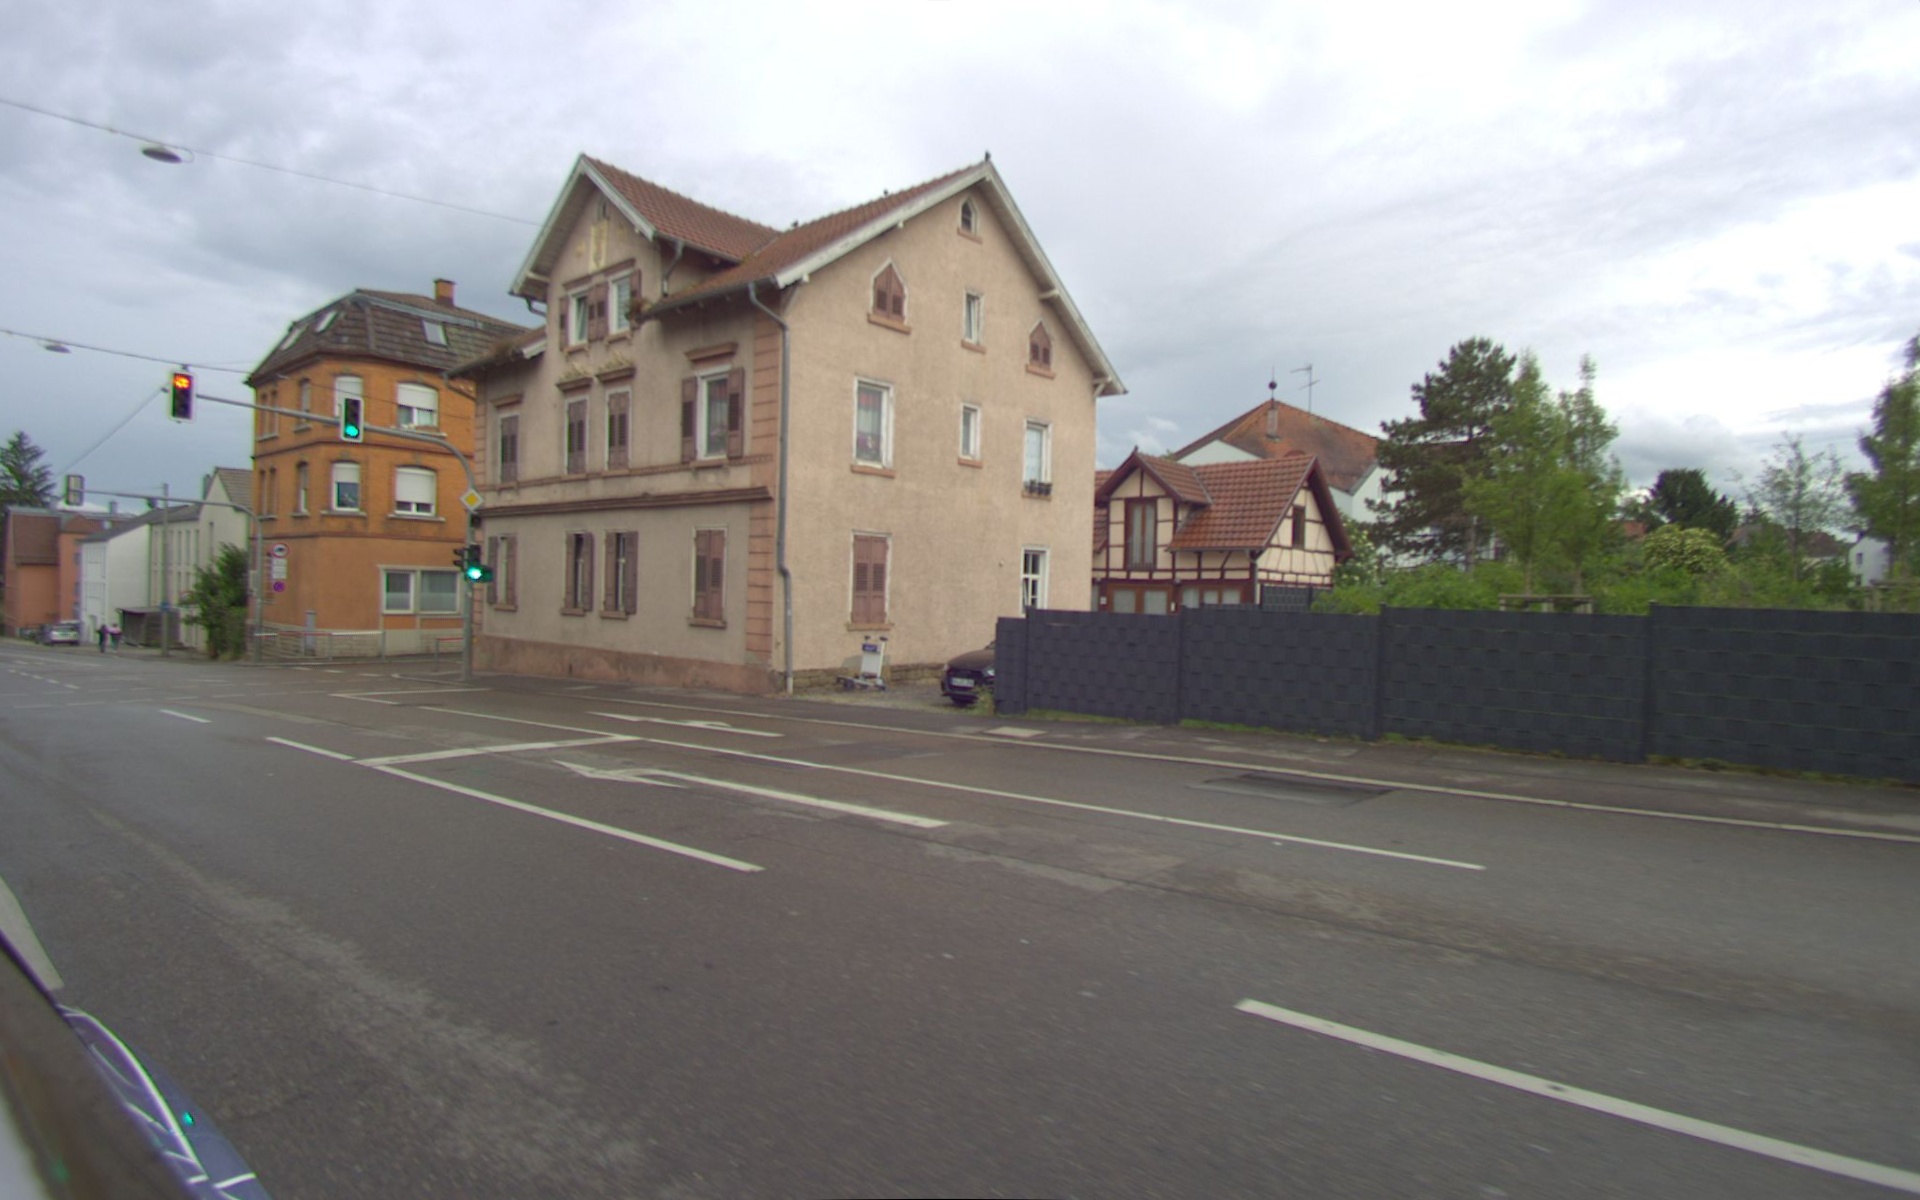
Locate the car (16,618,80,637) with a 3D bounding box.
[{"bbox_3d":[-82.136,2.471,91.199,2.000,1.444,4.116,0,1,43],"label":"car"}]

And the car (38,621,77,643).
[{"bbox_3d":[-66.708,2.322,74.795,4.176,1.519,1.726,0,-1,42],"label":"car"}]

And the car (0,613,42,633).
[{"bbox_3d":[-101.915,2.472,109.365,3.938,2.029,2.003,-1,1,-41],"label":"car"}]

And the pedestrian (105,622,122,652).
[{"bbox_3d":[-48.960,2.123,58.543,0.911,1.719,0.633,-1,-1,43],"label":"pedestrian"}]

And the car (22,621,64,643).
[{"bbox_3d":[-72.145,2.483,79.624,4.077,1.564,1.729,-1,1,38],"label":"car"}]

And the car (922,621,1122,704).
[{"bbox_3d":[1.204,1.011,17.791,1.604,1.172,3.950,0,1,37],"label":"car"}]

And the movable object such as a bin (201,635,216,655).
[{"bbox_3d":[-35.222,2.102,47.448,0.525,0.932,0.405,0,0,35],"label":"movable object such as a bin"}]

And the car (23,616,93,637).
[{"bbox_3d":[-80.030,2.359,89.808,2.153,1.620,4.482,0,1,43],"label":"car"}]

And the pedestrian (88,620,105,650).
[{"bbox_3d":[-49.469,1.996,57.990,0.911,1.719,0.633,-1,-1,43],"label":"pedestrian"}]
